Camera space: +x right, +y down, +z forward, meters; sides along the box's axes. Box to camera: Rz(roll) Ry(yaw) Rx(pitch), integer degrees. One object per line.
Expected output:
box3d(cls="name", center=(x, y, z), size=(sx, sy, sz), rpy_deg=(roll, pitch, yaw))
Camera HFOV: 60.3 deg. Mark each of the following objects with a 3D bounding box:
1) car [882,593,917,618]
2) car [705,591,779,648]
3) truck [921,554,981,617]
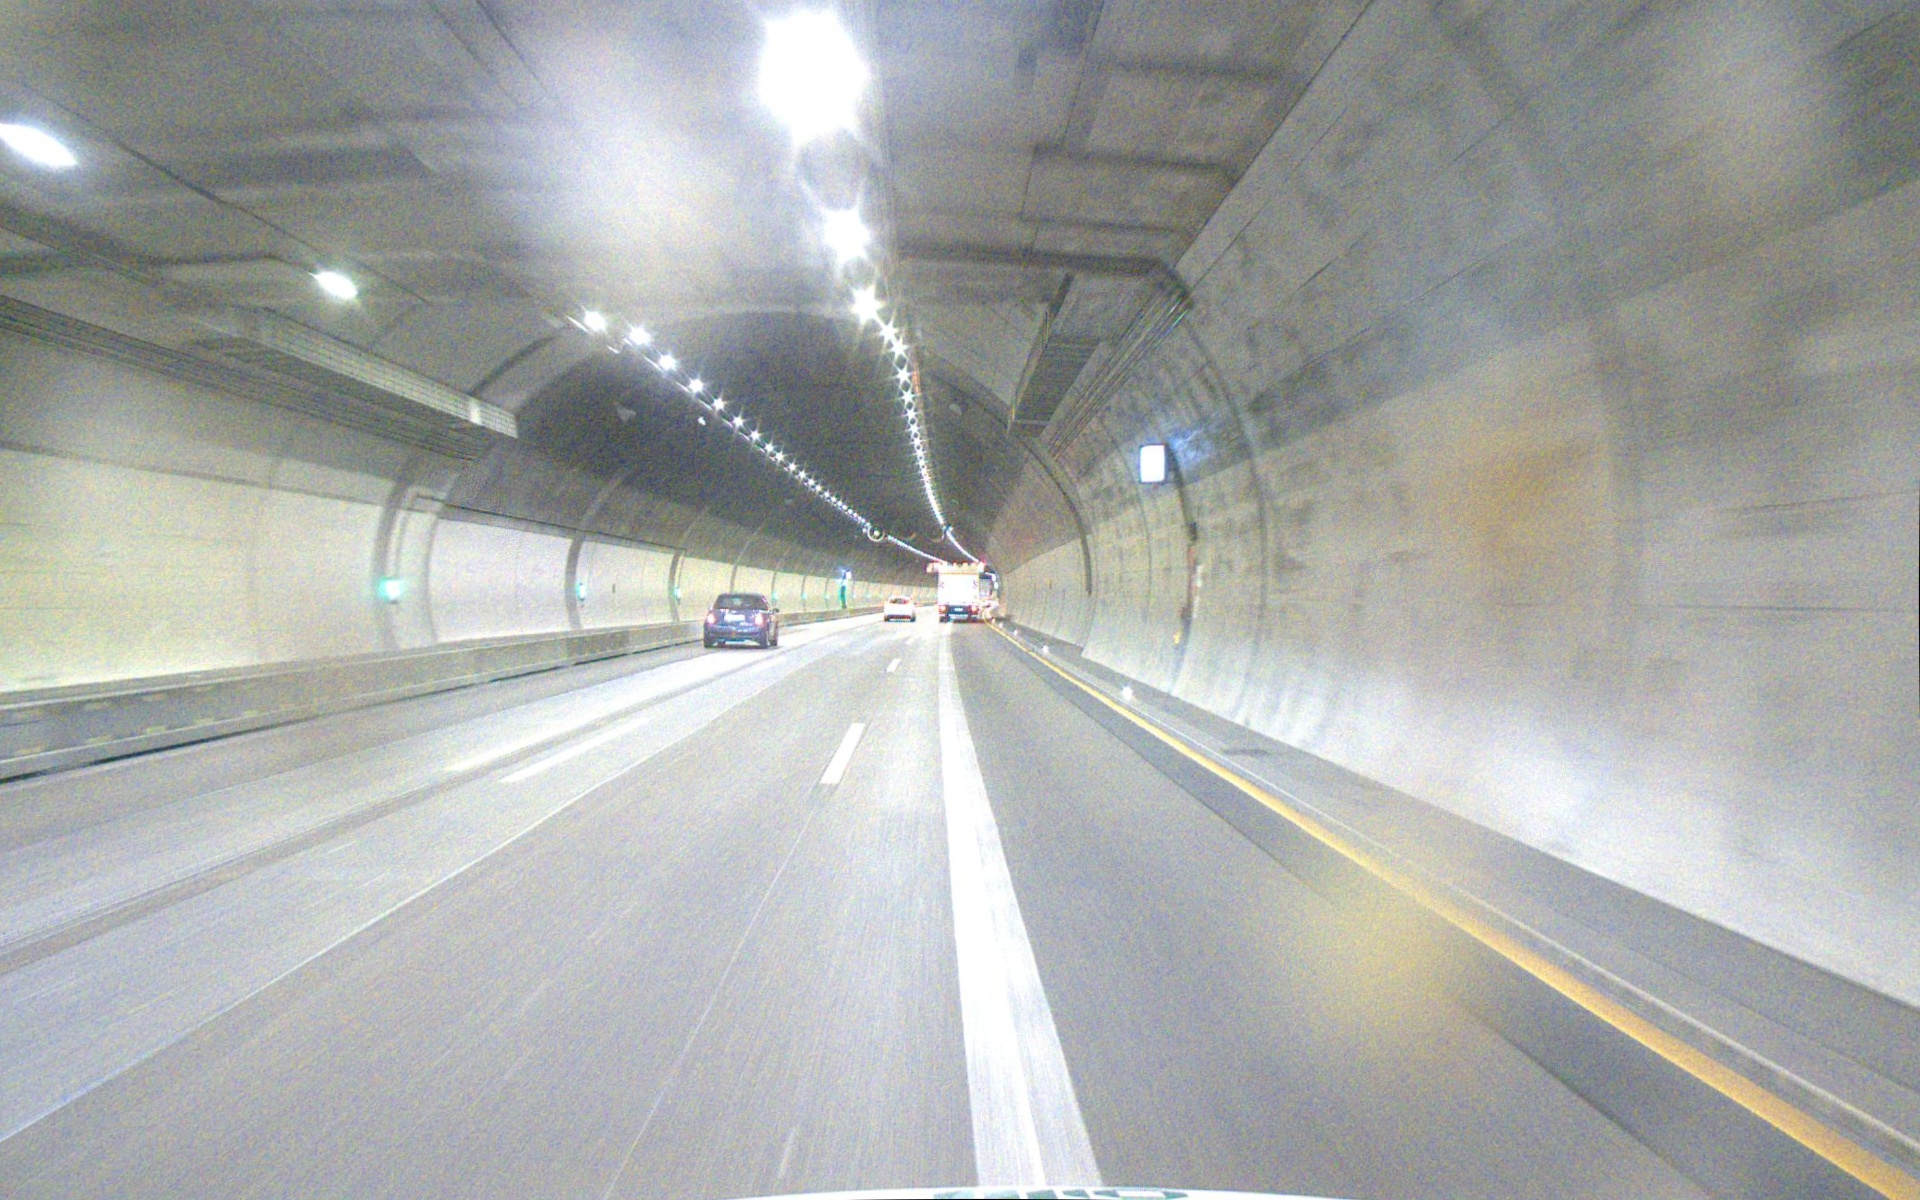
box3d(cls="car", center=(-3.575, 0.323, 98.881), size=(1.953, 1.437, 4.742), rpy_deg=(1, 0, -1))
box3d(cls="car", center=(-5.743, 0.484, 43.915), size=(1.655, 1.442, 3.920), rpy_deg=(1, 0, -3))
box3d(cls="truck", center=(-0.546, -0.906, 104.464), size=(3.519, 3.714, 10.721), rpy_deg=(1, 0, 0))
